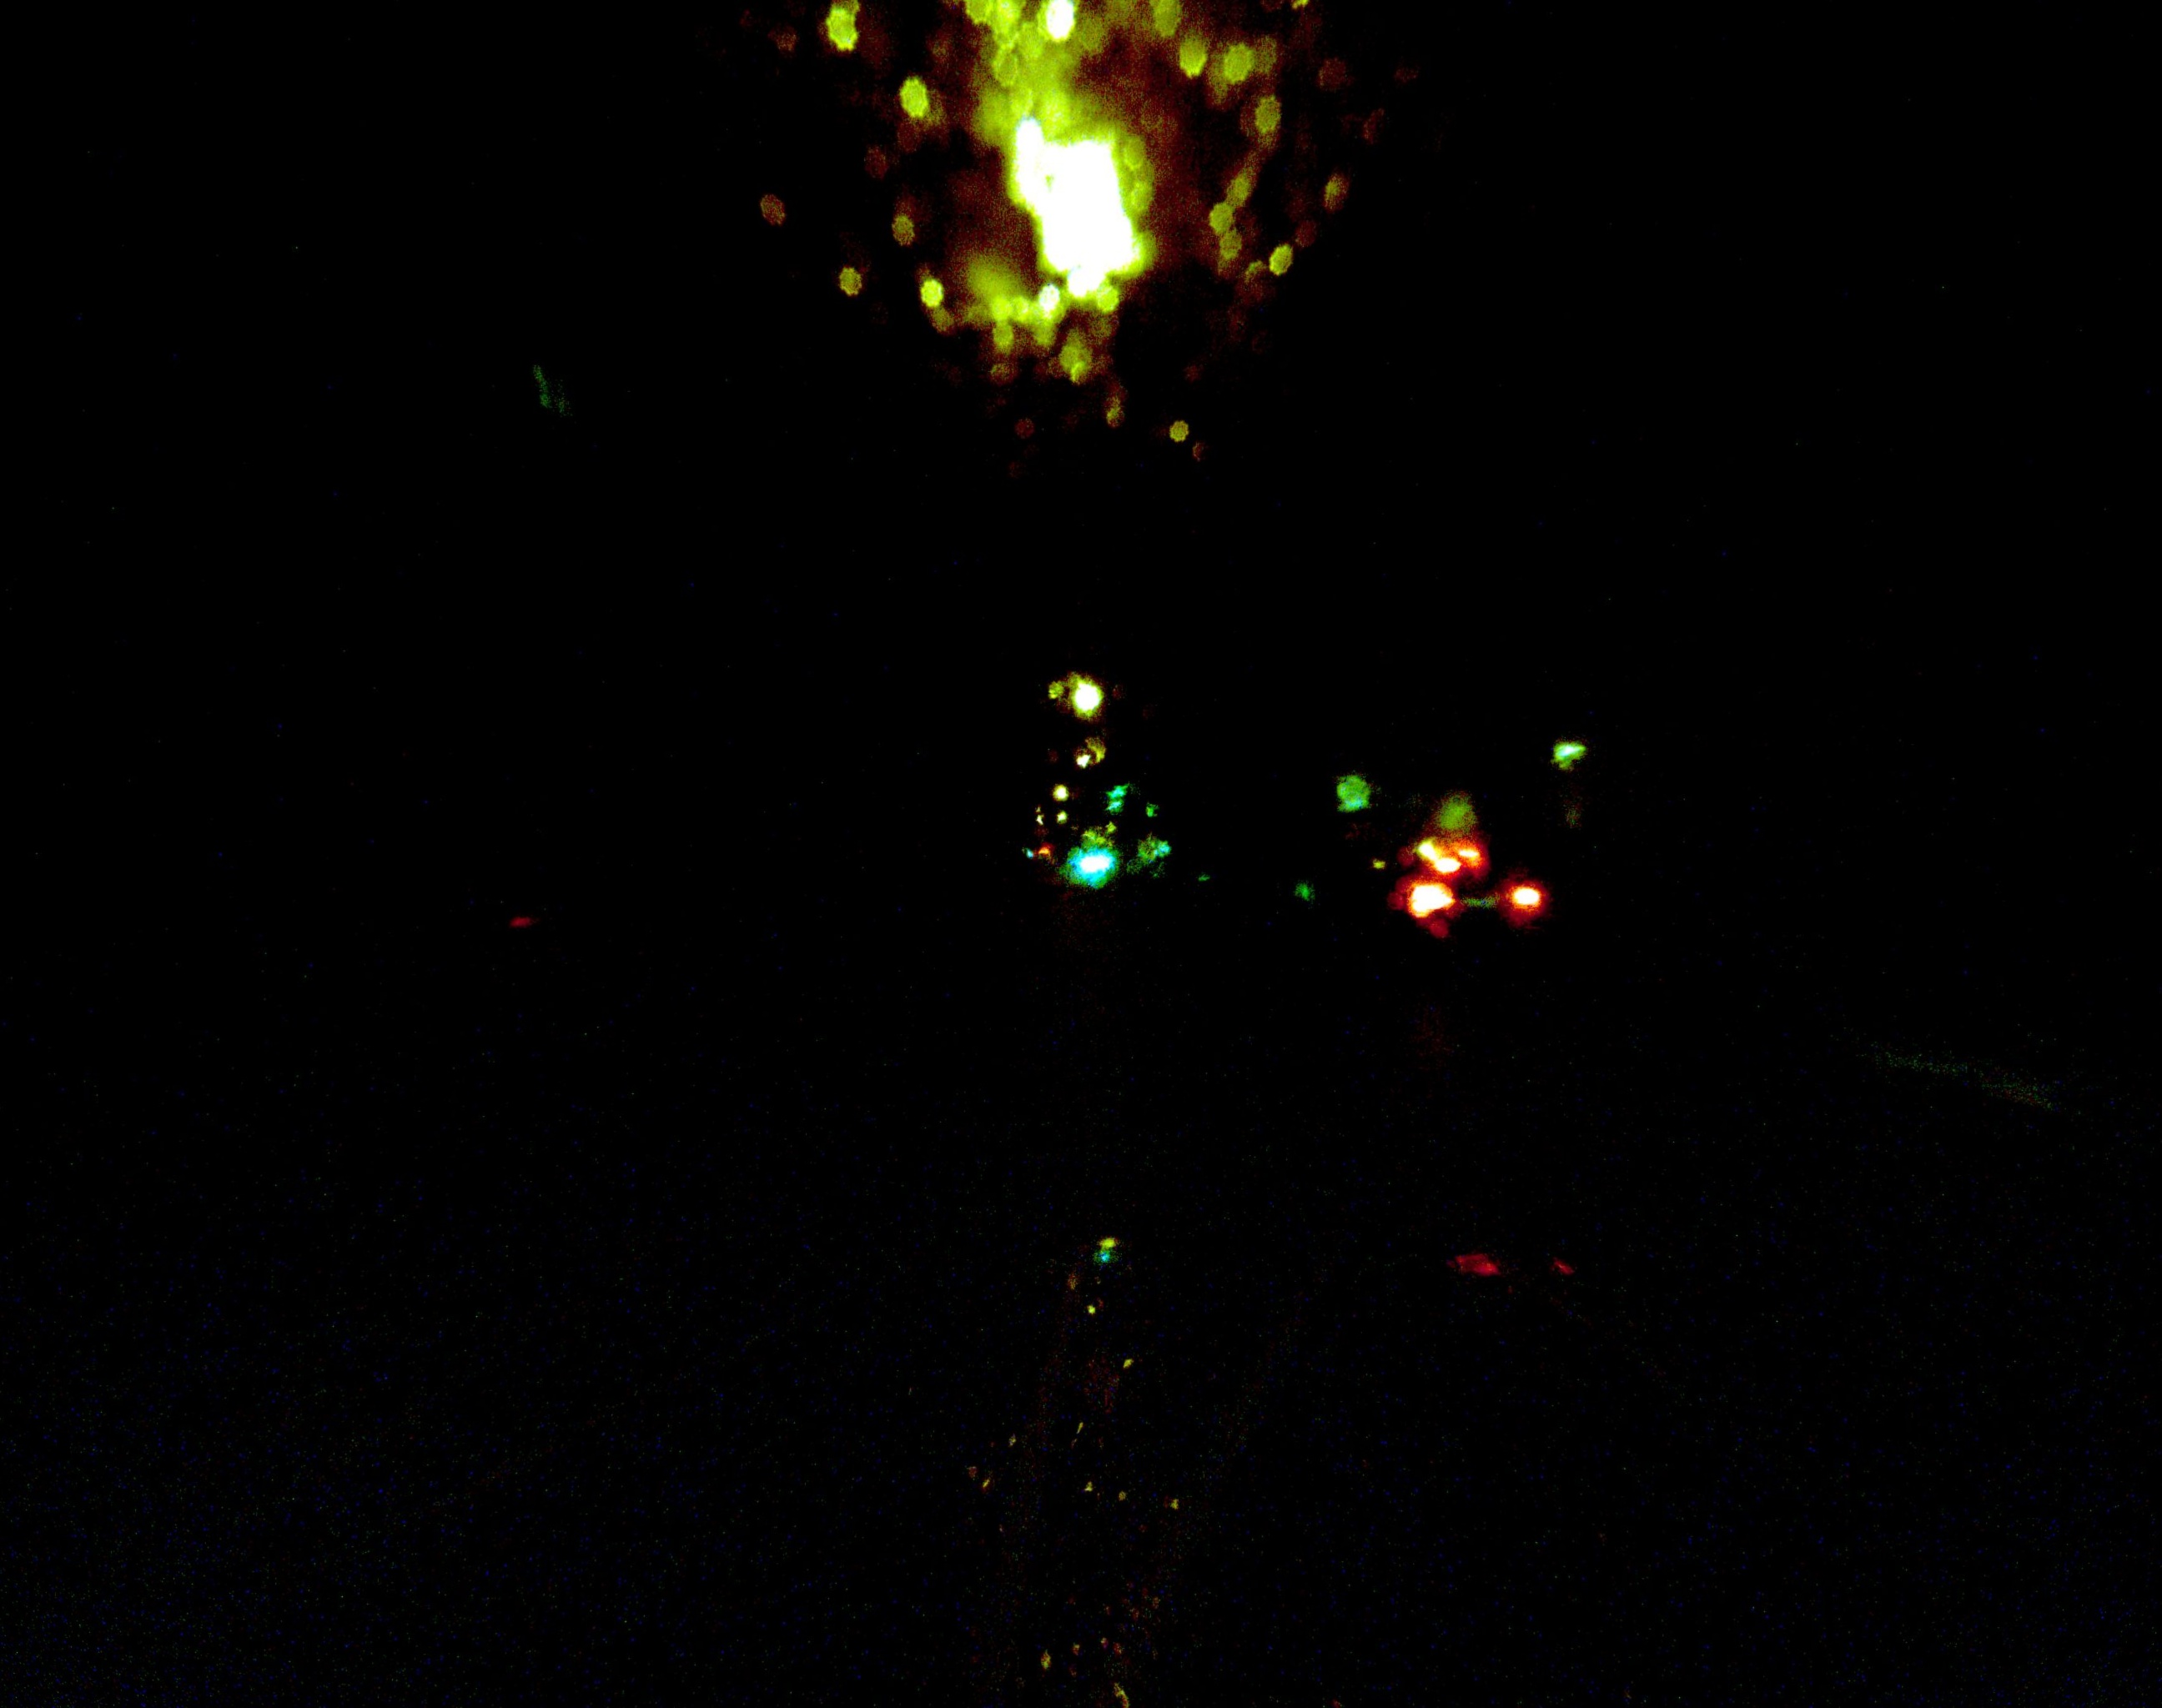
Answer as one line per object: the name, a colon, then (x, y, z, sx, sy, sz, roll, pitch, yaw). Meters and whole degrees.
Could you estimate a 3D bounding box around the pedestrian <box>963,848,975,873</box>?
pedestrian: (-8.615, 0.498, 58.319, 0.747, 1.829, 0.843, 1, -2, -1)

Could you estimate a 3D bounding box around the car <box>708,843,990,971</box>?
car: (-3.866, 0.796, 12.978, 4.256, 1.848, 1.712, 1, 1, -35)

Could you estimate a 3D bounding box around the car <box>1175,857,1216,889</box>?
car: (5.626, 0.893, 37.675, 1.550, 1.434, 3.563, -3, 0, 3)

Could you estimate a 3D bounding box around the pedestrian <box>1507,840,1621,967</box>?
pedestrian: (7.046, 0.700, 11.133, 1.135, 1.772, 0.788, -1, 0, 1)

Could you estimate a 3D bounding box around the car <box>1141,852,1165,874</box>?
car: (5.953, 0.717, 62.609, 1.816, 1.660, 4.413, -1, 0, 6)

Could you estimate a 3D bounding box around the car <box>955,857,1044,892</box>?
car: (-3.735, 0.935, 34.725, 3.717, 1.514, 1.653, 1, 1, -24)

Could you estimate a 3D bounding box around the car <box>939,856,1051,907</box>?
car: (-3.063, 0.953, 26.998, 3.569, 1.601, 1.710, -2, 0, -21)

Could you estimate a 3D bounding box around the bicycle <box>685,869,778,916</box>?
bicycle: (-8.499, 0.932, 18.538, 1.977, 1.048, 0.509, 2, 1, -6)

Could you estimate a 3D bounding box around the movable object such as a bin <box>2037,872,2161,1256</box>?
movable object such as a bin: (4.709, 0.801, 2.705, 1.167, 1.451, 1.107, -3, 1, 3)

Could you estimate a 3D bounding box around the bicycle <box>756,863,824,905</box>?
bicycle: (-8.349, 0.848, 21.869, 1.690, 1.140, 0.665, 2, 0, -8)

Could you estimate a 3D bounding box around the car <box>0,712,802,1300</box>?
car: (-4.181, 0.575, 4.016, 4.734, 2.235, 1.941, 0, 1, -35)

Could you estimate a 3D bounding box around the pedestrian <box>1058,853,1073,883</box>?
pedestrian: (-0.886, 0.815, 44.438, 0.824, 1.760, 1.177, -1, 0, 0)

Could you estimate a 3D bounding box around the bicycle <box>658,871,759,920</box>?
bicycle: (-8.423, 0.937, 17.209, 1.977, 1.048, 0.509, 2, 1, -6)

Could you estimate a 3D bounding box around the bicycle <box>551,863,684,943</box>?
bicycle: (-8.394, 0.861, 13.794, 1.975, 1.327, 0.783, 2, 1, 7)

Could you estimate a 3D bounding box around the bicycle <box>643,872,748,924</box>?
bicycle: (-8.377, 0.946, 16.565, 1.977, 1.048, 0.509, 2, 1, -6)

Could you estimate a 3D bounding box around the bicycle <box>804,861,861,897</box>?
bicycle: (-8.151, 0.823, 24.945, 1.690, 1.140, 0.428, 2, 0, -8)

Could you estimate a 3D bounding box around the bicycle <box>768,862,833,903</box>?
bicycle: (-8.327, 0.853, 22.590, 1.690, 1.140, 0.596, 2, 0, -8)

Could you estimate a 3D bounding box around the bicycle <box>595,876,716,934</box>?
bicycle: (-8.205, 0.980, 14.701, 1.977, 1.048, 0.509, 2, 1, -6)

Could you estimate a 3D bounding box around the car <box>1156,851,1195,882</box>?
car: (5.786, 0.722, 46.986, 1.871, 1.835, 4.827, 0, 0, 1)

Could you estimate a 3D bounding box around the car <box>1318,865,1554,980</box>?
car: (5.110, 0.890, 11.636, 1.658, 1.351, 4.222, -1, 0, 1)

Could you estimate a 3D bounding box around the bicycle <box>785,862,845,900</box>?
bicycle: (-8.324, 0.846, 23.837, 1.690, 1.140, 0.485, 2, 0, -8)

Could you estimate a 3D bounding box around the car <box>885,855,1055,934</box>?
car: (-2.765, 0.940, 19.087, 3.809, 1.718, 1.737, -2, 0, -30)

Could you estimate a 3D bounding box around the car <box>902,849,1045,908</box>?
car: (-3.399, 0.761, 24.127, 4.113, 1.754, 1.855, 1, -1, -27)

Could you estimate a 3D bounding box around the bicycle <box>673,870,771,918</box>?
bicycle: (-8.383, 0.932, 17.786, 1.977, 1.048, 0.509, 2, 1, -6)

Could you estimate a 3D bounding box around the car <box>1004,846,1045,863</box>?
car: (-5.916, 0.057, 79.251, 3.810, 1.679, 1.831, 2, -1, -31)

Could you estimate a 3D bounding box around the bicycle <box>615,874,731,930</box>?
bicycle: (-8.164, 0.962, 15.260, 1.977, 1.048, 0.509, 2, 1, -6)

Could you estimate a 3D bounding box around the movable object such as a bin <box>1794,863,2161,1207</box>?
movable object such as a bin: (4.788, 0.809, 3.881, 1.211, 1.451, 1.107, -3, 1, 3)

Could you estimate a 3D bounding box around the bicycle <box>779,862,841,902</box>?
bicycle: (-8.289, 0.848, 23.271, 1.690, 1.140, 0.541, 2, 0, -8)

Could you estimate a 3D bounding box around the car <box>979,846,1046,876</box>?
car: (-5.537, 0.544, 61.729, 4.951, 2.327, 2.226, 0, 0, -34)

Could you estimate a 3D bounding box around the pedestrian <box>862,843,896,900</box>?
pedestrian: (-6.818, 0.585, 25.696, 0.841, 1.825, 0.947, 4, 2, -3)

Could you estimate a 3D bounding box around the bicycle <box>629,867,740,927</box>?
bicycle: (-8.270, 0.892, 15.908, 1.977, 1.184, 0.509, 2, 1, -6)

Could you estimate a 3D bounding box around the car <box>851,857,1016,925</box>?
car: (-4.063, 0.949, 21.002, 4.068, 1.601, 1.840, -2, 0, -29)

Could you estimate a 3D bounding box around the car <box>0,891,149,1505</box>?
car: (-4.220, 0.903, 1.039, 3.407, 1.533, 1.573, 0, 1, -35)

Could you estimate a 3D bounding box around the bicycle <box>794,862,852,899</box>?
bicycle: (-8.263, 0.841, 24.371, 1.690, 1.140, 0.428, 2, 0, -8)
